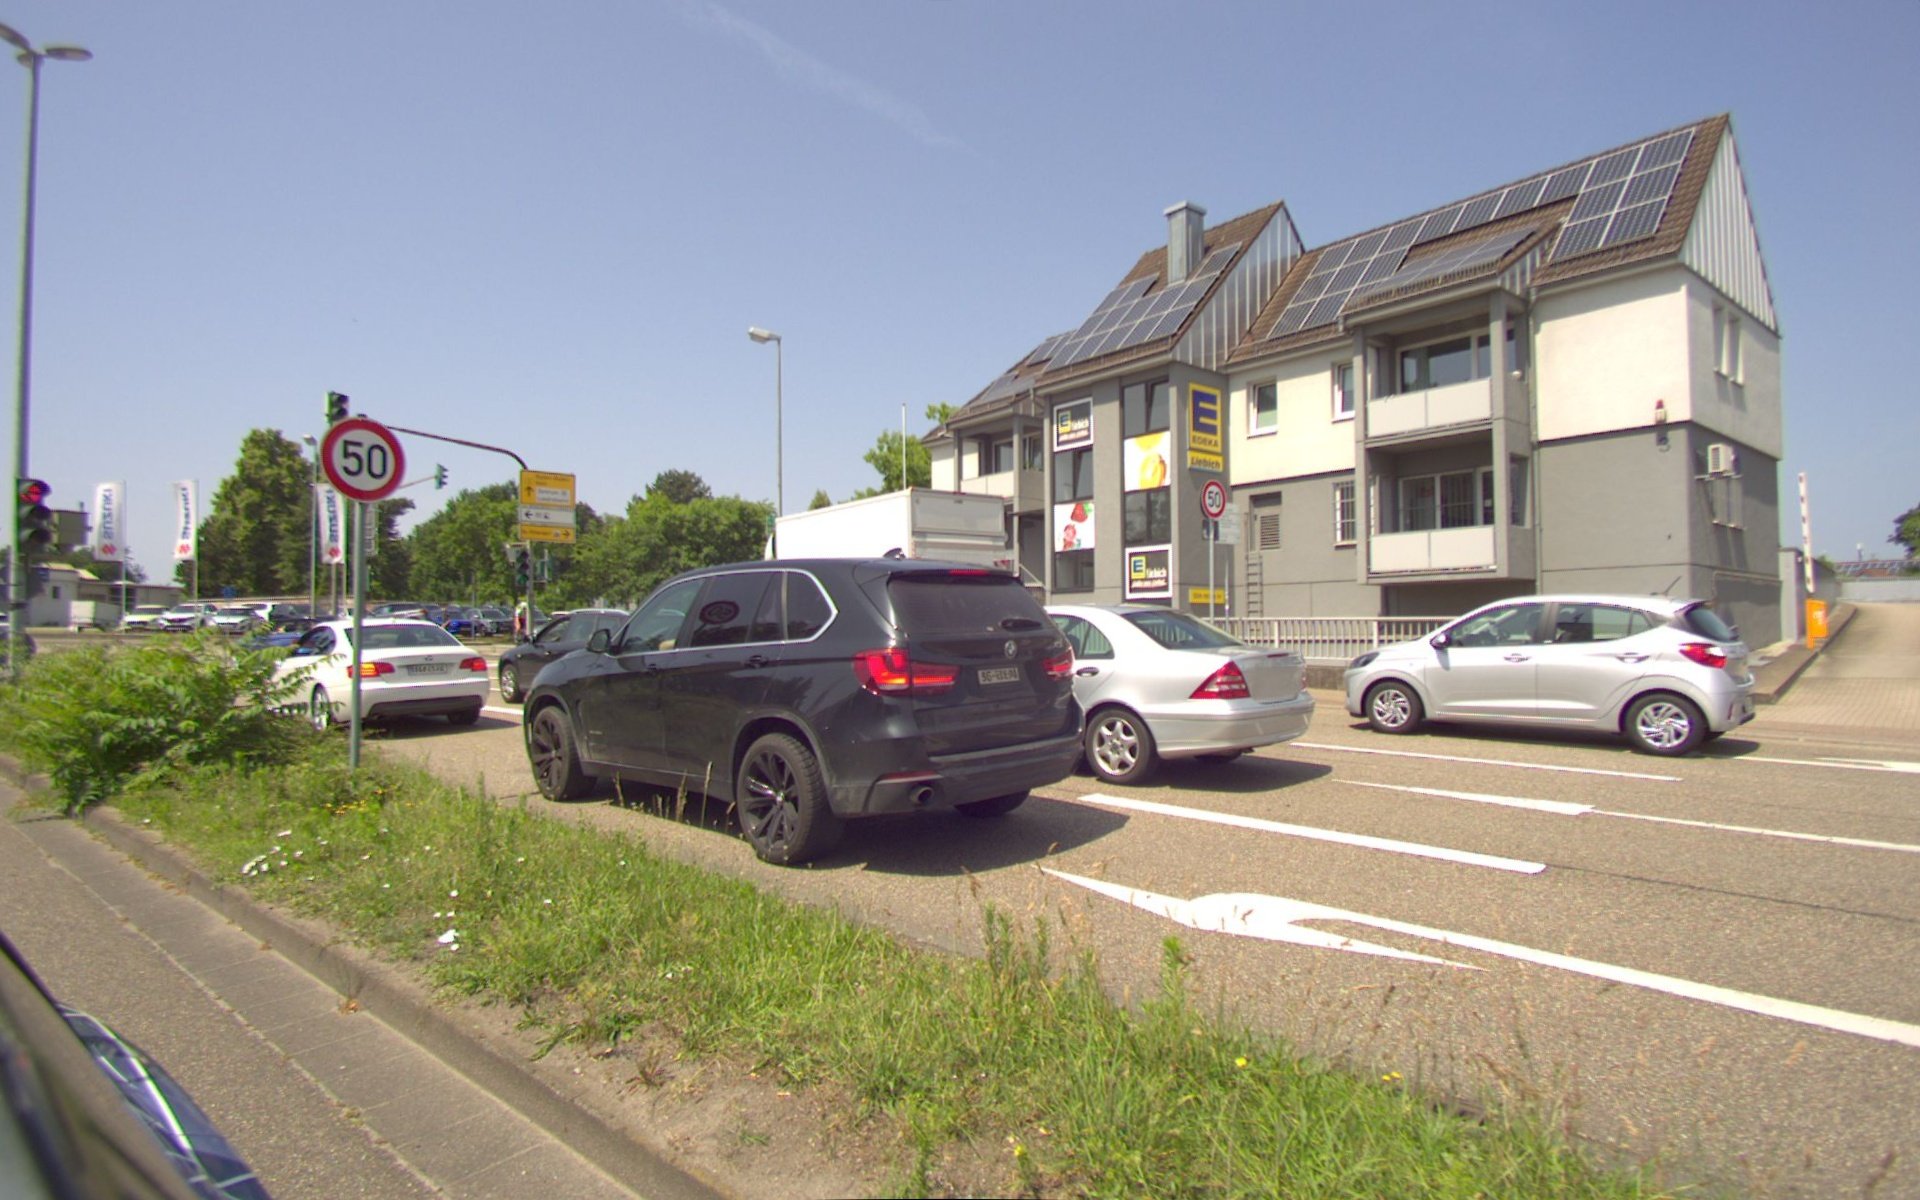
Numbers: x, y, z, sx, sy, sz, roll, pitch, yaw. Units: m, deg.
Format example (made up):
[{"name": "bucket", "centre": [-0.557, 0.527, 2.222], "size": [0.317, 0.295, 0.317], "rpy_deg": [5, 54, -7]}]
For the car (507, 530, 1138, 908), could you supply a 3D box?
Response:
[{"name": "car", "centre": [-1.277, 0.559, 7.088], "size": [4.762, 1.764, 1.887], "rpy_deg": [0, 0, 45]}]

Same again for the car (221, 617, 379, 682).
[{"name": "car", "centre": [-15.437, 1.111, 23.602], "size": [4.342, 1.376, 1.845], "rpy_deg": [-1, -2, 39]}]

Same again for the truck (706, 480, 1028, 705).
[{"name": "truck", "centre": [-2.037, -0.098, 18.876], "size": [2.237, 3.443, 7.048], "rpy_deg": [0, 0, -42]}]

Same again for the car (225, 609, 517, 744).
[{"name": "car", "centre": [-7.783, 0.866, 13.158], "size": [4.741, 1.442, 1.844], "rpy_deg": [-1, -1, 41]}]

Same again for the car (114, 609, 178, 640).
[{"name": "car", "centre": [-43.793, 1.293, 54.535], "size": [1.727, 1.521, 3.833], "rpy_deg": [0, 0, -23]}]

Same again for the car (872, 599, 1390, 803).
[{"name": "car", "centre": [1.310, 0.705, 8.935], "size": [4.198, 1.371, 1.876], "rpy_deg": [-1, -1, 44]}]

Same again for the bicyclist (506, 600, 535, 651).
[{"name": "bicyclist", "centre": [-14.511, 0.851, 33.406], "size": [0.817, 1.655, 0.418], "rpy_deg": [-2, -1, 27]}]

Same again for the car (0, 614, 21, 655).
[{"name": "car", "centre": [-39.327, 1.385, 40.229], "size": [4.540, 1.582, 1.803], "rpy_deg": [-1, 1, 32]}]

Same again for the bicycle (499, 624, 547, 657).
[{"name": "bicycle", "centre": [-14.417, 1.340, 33.384], "size": [1.781, 1.062, 0.418], "rpy_deg": [-2, -1, 28]}]

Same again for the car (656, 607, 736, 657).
[{"name": "car", "centre": [-9.994, 1.280, 38.691], "size": [1.971, 1.669, 4.595], "rpy_deg": [4, -3, -2]}]

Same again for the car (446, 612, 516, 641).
[{"name": "car", "centre": [-27.337, 1.505, 57.770], "size": [3.988, 1.548, 1.776], "rpy_deg": [0, 0, 33]}]

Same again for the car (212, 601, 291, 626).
[{"name": "car", "centre": [-48.754, 0.929, 69.623], "size": [4.707, 1.662, 1.688], "rpy_deg": [0, -1, 12]}]

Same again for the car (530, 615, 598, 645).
[{"name": "car", "centre": [-23.950, 1.784, 61.199], "size": [3.988, 1.720, 1.886], "rpy_deg": [0, 0, 33]}]

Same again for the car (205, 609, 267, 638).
[{"name": "car", "centre": [-38.382, 1.221, 53.747], "size": [1.686, 1.443, 3.975], "rpy_deg": [1, -1, -20]}]

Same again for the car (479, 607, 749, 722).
[{"name": "car", "centre": [-5.254, 0.862, 15.046], "size": [4.574, 1.450, 1.783], "rpy_deg": [-1, -1, 42]}]

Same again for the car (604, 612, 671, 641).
[{"name": "car", "centre": [-20.679, 1.659, 64.879], "size": [3.988, 1.763, 1.978], "rpy_deg": [0, 0, 33]}]

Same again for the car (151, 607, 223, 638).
[{"name": "car", "centre": [-41.234, 1.171, 54.065], "size": [1.885, 1.552, 3.975], "rpy_deg": [0, 0, -19]}]

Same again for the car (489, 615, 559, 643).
[{"name": "car", "centre": [-25.676, 1.726, 59.626], "size": [3.986, 1.582, 1.821], "rpy_deg": [0, -2, 32]}]

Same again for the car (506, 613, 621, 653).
[{"name": "car", "centre": [-17.831, 1.433, 45.710], "size": [1.758, 1.622, 4.706], "rpy_deg": [0, 0, 35]}]

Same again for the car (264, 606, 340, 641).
[{"name": "car", "centre": [-34.921, 1.244, 53.694], "size": [4.000, 1.737, 1.826], "rpy_deg": [1, 0, 31]}]

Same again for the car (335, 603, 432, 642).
[{"name": "car", "centre": [-30.641, 1.202, 53.894], "size": [4.235, 1.916, 1.835], "rpy_deg": [2, -1, -22]}]

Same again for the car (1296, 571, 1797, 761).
[{"name": "car", "centre": [5.908, 0.570, 10.530], "size": [4.198, 1.578, 1.876], "rpy_deg": [-1, -1, 44]}]

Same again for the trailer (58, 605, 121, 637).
[{"name": "trailer", "centre": [-47.659, 1.136, 55.449], "size": [1.666, 1.717, 2.440], "rpy_deg": [0, 0, -11]}]
